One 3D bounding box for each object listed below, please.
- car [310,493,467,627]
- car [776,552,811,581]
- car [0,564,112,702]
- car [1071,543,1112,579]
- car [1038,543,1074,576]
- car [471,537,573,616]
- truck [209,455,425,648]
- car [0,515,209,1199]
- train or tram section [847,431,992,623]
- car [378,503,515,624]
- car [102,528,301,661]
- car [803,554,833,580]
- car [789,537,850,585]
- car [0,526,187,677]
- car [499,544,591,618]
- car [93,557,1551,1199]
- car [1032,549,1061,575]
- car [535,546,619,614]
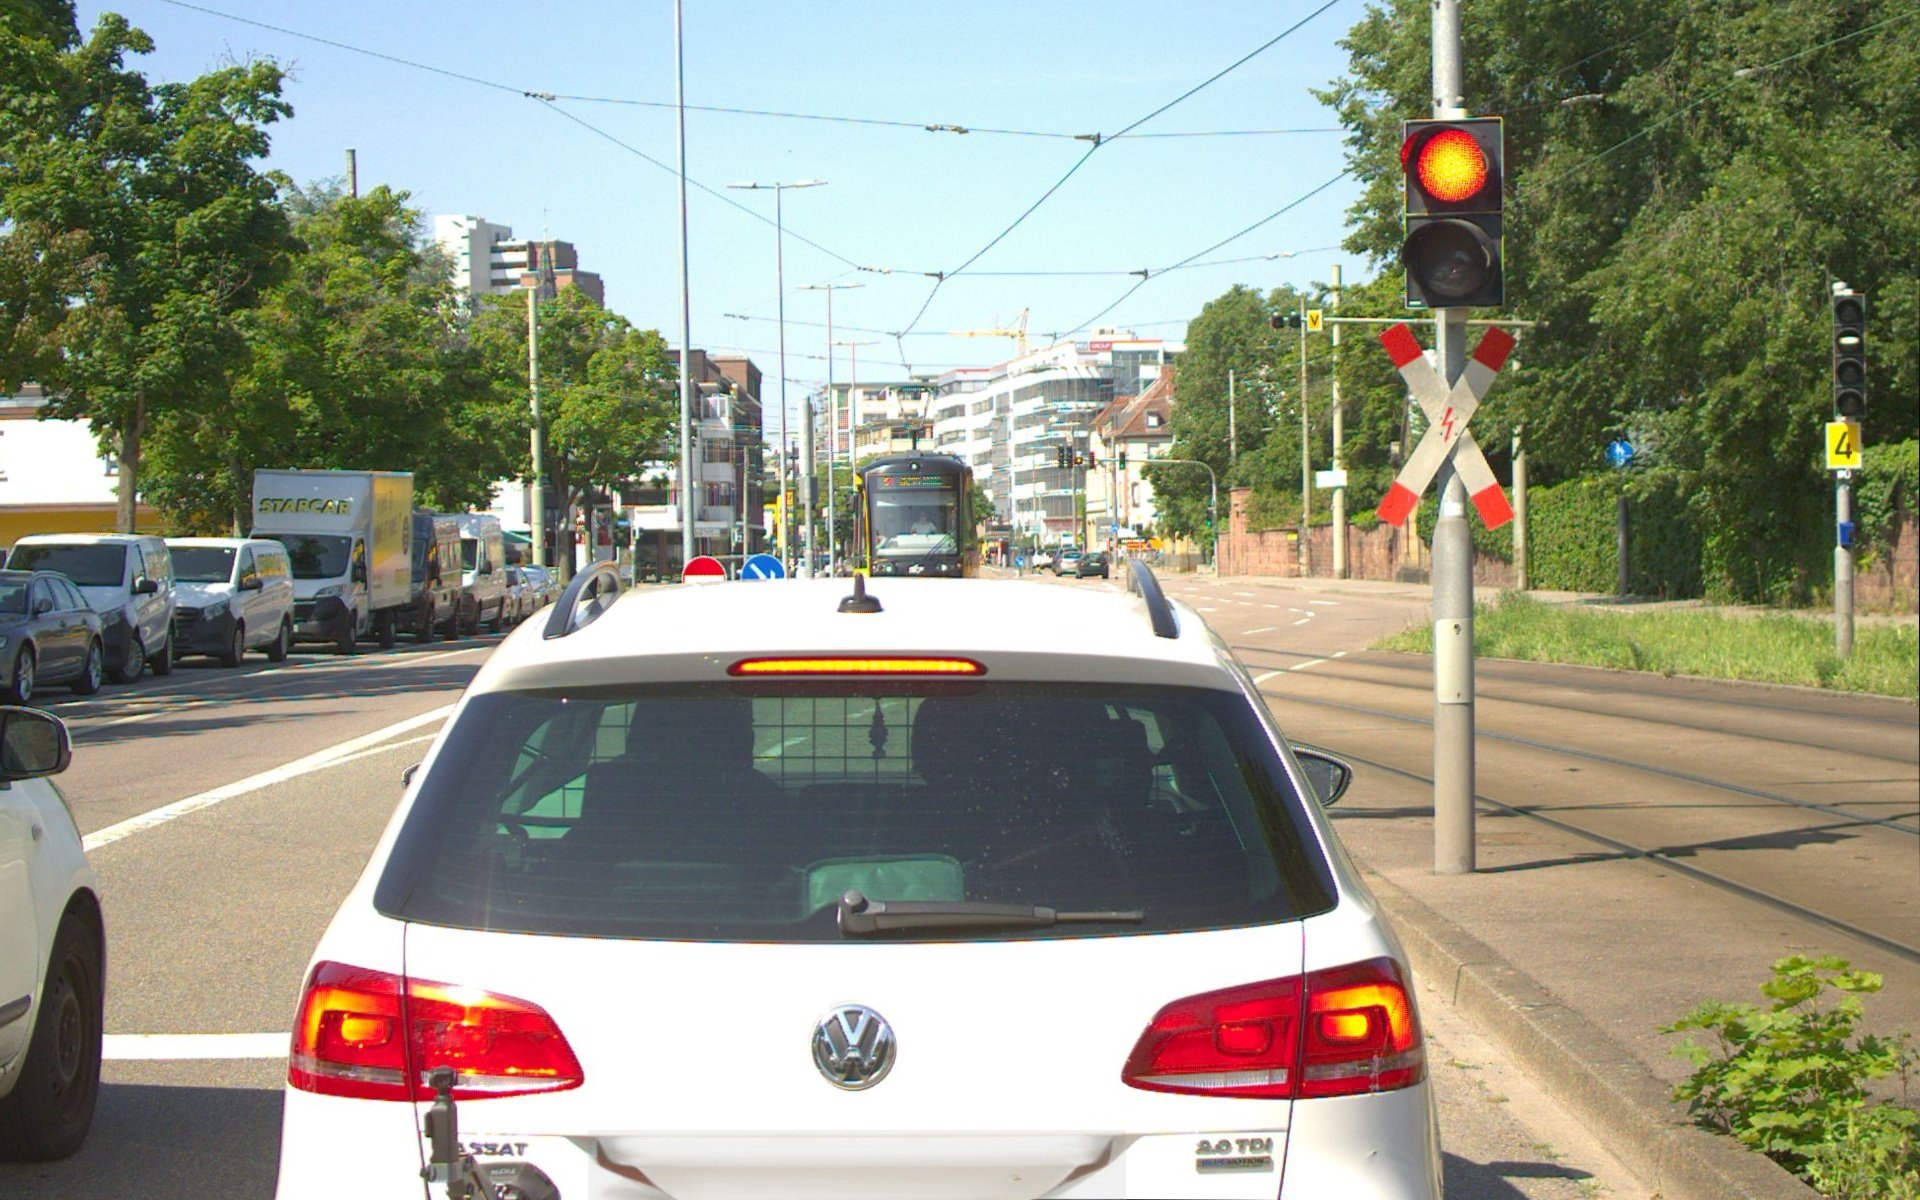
[{"bbox_3d":[-11.290,-0.810,68.319,2.123,2.508,5.733,1,1,0],"label":"car"},{"bbox_3d":[-8.827,-1.775,182.160,1.705,1.468,4.589,-1,1,-1],"label":"car"},{"bbox_3d":[-11.005,0.325,38.782,1.863,1.411,4.280,1,1,-1],"label":"car"},{"bbox_3d":[7.215,-2.157,188.784,1.863,1.861,5.062,1,1,-1],"label":"car"},{"bbox_3d":[5.674,-2.424,203.415,1.863,1.861,5.062,1,1,-1],"label":"car"},{"bbox_3d":[-10.776,-0.617,84.869,1.863,1.861,5.414,1,1,-1],"label":"car"},{"bbox_3d":[-11.170,-0.869,60.317,2.421,3.139,6.997,1,1,0],"label":"truck"},{"bbox_3d":[-2.951,0.589,7.355,1.662,1.542,4.547,0,1,0],"label":"car"},{"bbox_3d":[-0.804,-1.607,76.392,2.870,3.842,12.392,-1,1,0],"label":"train or tram section"},{"bbox_3d":[-11.264,-0.826,75.756,2.123,2.508,5.733,1,1,0],"label":"car"},{"bbox_3d":[-11.375,-0.126,51.903,1.863,1.861,5.414,1,1,-1],"label":"car"},{"bbox_3d":[-8.539,-1.999,207.054,1.705,1.468,4.589,-1,1,-1],"label":"car"},{"bbox_3d":[-4.578,-1.292,112.621,1.705,1.468,4.589,-2,1,1],"label":"car"},{"bbox_3d":[-11.451,-0.031,45.315,1.863,1.861,5.075,1,1,-6],"label":"car"},{"bbox_3d":[-11.030,-0.527,91.686,1.863,1.861,5.414,1,1,-1],"label":"car"},{"bbox_3d":[-0.180,0.670,6.206,1.762,1.425,4.000,-1,1,-1],"label":"car"},{"bbox_3d":[6.525,-2.861,259.154,1.863,1.861,5.062,1,1,-1],"label":"car"},{"bbox_3d":[-10.952,-0.604,98.603,1.863,1.861,5.414,1,1,-1],"label":"car"}]
